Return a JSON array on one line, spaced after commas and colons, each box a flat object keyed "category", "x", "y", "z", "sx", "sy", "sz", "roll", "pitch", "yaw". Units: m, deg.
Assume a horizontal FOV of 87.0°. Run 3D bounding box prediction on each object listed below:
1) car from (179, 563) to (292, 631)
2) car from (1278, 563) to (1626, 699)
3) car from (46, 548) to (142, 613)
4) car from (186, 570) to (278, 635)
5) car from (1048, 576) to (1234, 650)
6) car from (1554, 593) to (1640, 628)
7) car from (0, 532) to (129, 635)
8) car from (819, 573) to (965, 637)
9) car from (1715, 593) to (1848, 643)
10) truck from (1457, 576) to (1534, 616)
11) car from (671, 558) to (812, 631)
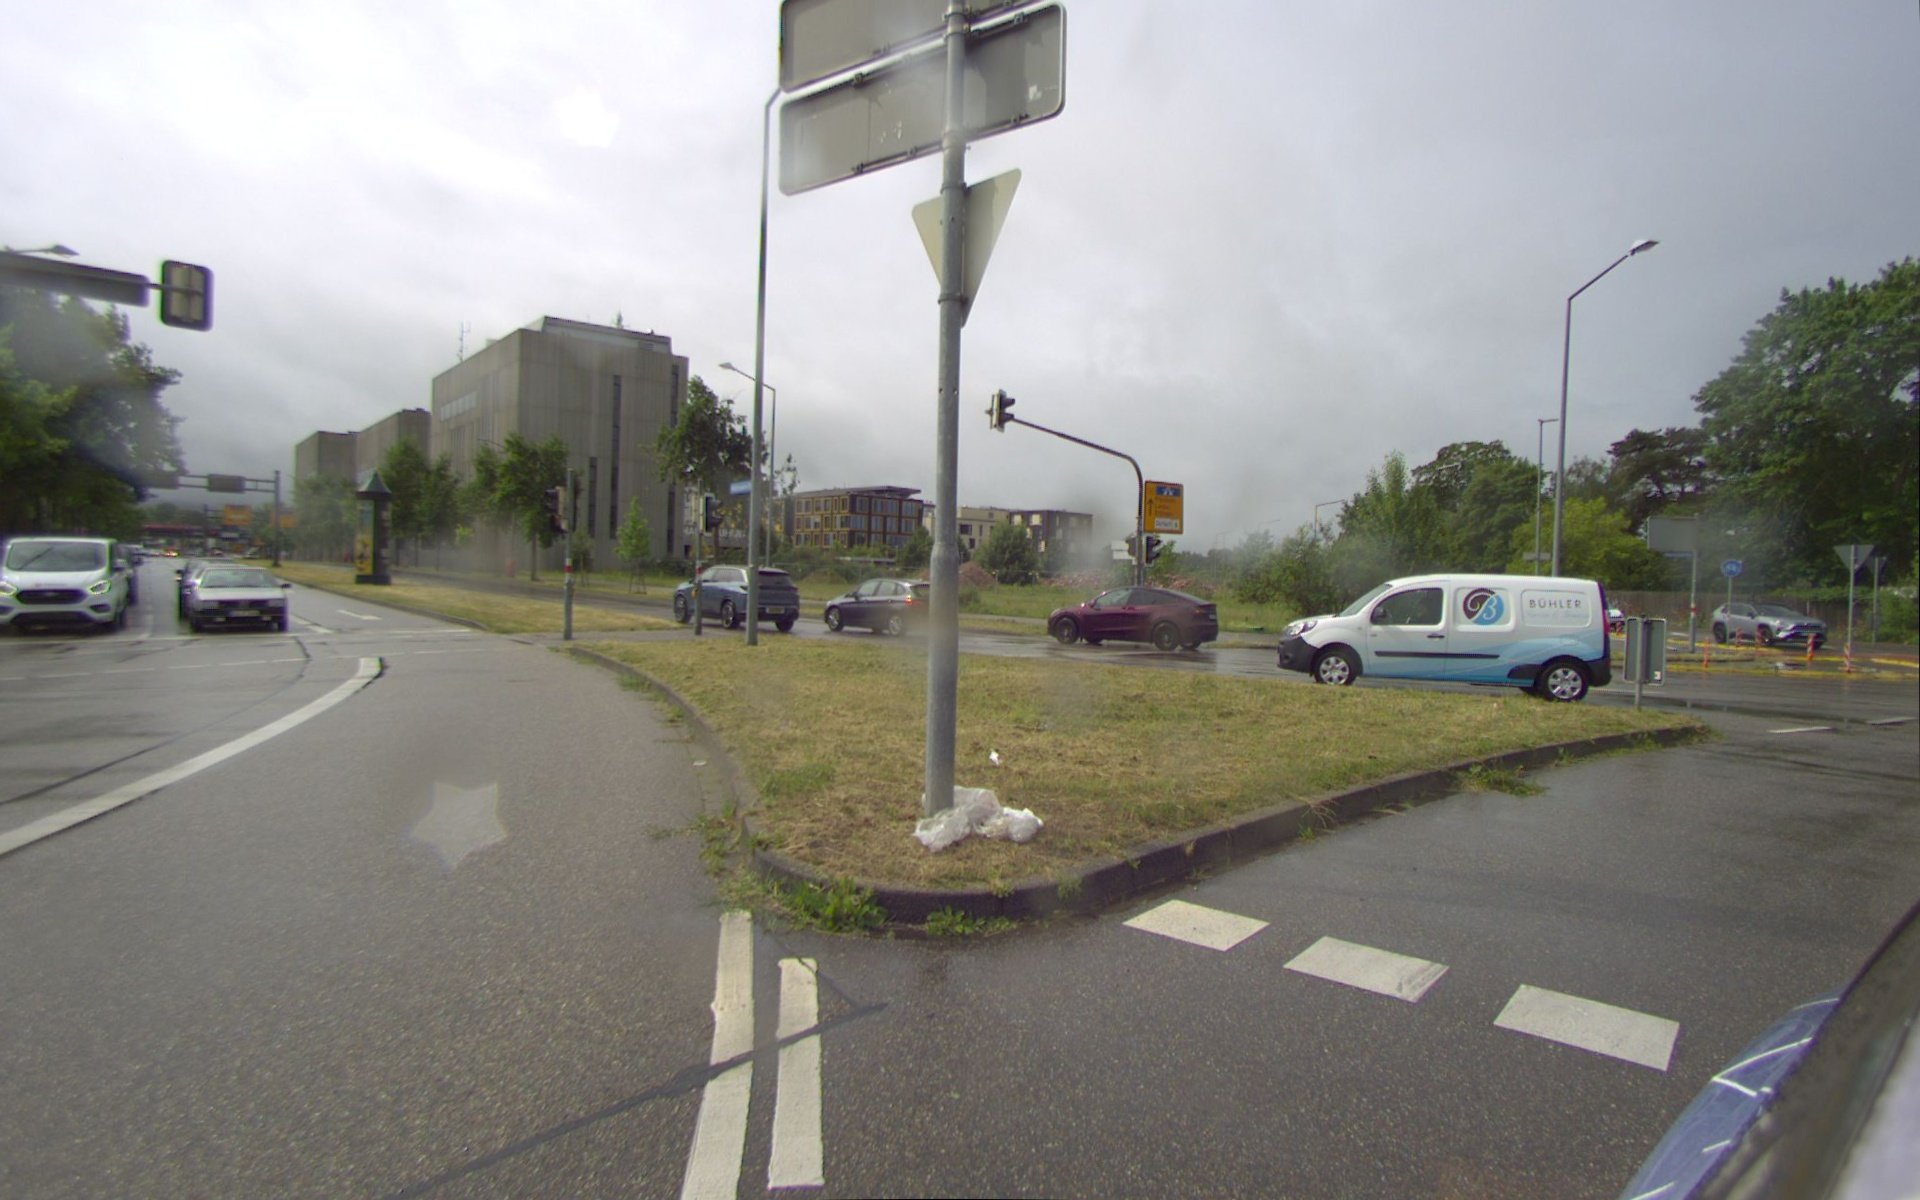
[{"category": "car", "x": -16.591, "y": -0.110, "z": 23.079, "sx": 1.834, "sy": 1.397, "sz": 4.548, "roll": 1, "pitch": 1, "yaw": -39}, {"category": "car", "x": 7.276, "y": 0.401, "z": 15.522, "sx": 4.490, "sy": 1.785, "sz": 1.857, "roll": 2, "pitch": 1, "yaw": 17}, {"category": "car", "x": -28.908, "y": -0.658, "z": 33.932, "sx": 2.040, "sy": 2.012, "sz": 4.799, "roll": 1, "pitch": 1, "yaw": -36}, {"category": "car", "x": -20.485, "y": 0.032, "z": 28.412, "sx": 1.834, "sy": 1.554, "sz": 4.485, "roll": 1, "pitch": 2, "yaw": -39}, {"category": "car", "x": 4.743, "y": 0.304, "z": 26.791, "sx": 4.468, "sy": 1.678, "sz": 1.852, "roll": 3, "pitch": 1, "yaw": 34}, {"category": "car", "x": 32.407, "y": 0.490, "z": 51.653, "sx": 1.842, "sy": 1.684, "sz": 4.478, "roll": 0, "pitch": 1, "yaw": 5}, {"category": "car", "x": -19.557, "y": -0.378, "z": 21.973, "sx": 2.040, "sy": 2.012, "sz": 4.799, "roll": 1, "pitch": 1, "yaw": -36}, {"category": "car", "x": -1.905, "y": 0.105, "z": 27.637, "sx": 1.781, "sy": 1.547, "sz": 3.989, "roll": 1, "pitch": 1, "yaw": -45}, {"category": "car", "x": 30.892, "y": 0.634, "z": 38.232, "sx": 1.845, "sy": 1.684, "sz": 4.472, "roll": 1, "pitch": 1, "yaw": 9}, {"category": "truck", "x": 39.816, "y": -0.381, "z": 75.488, "sx": 2.418, "sy": 2.760, "sz": 6.938, "roll": 2, "pitch": 1, "yaw": 5}, {"category": "car", "x": -6.007, "y": -0.199, "z": 27.468, "sx": 2.005, "sy": 1.779, "sz": 4.320, "roll": 2, "pitch": 1, "yaw": -38}]
